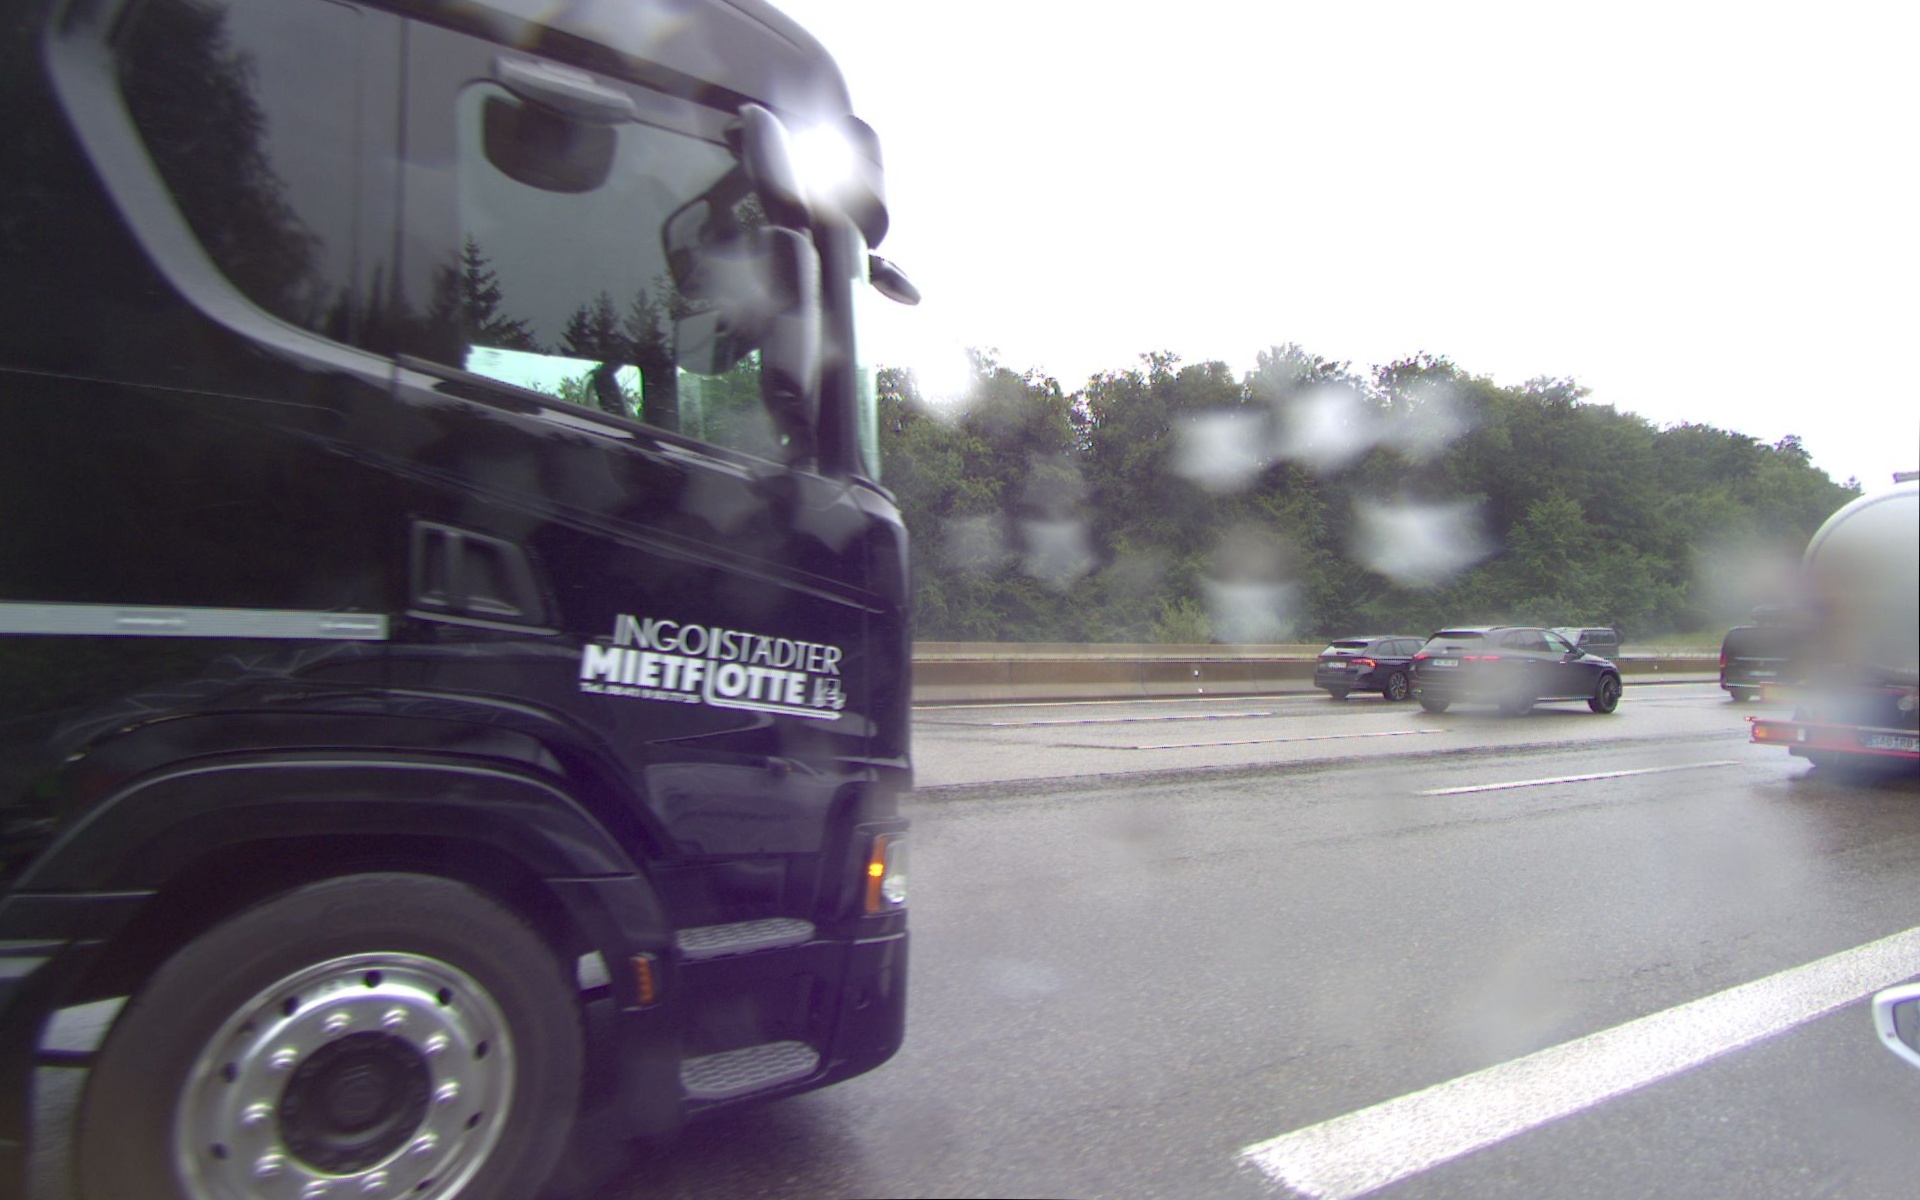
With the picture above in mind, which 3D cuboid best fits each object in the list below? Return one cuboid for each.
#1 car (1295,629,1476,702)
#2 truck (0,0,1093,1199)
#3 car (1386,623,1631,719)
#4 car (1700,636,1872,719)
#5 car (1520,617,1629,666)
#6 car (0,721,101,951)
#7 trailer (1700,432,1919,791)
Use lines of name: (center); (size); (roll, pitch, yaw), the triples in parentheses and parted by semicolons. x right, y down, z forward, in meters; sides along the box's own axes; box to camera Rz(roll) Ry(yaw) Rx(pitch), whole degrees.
car: (9.872, 1.476, 23.270); (3.953, 1.528, 1.874); (2, -1, -30)
truck: (-5.421, -0.501, 1.150); (11.652, 3.636, 2.819); (2, -2, -29)
car: (10.539, 1.297, 19.204); (4.752, 1.615, 1.984); (2, -1, -31)
car: (20.080, 1.820, 24.397); (4.106, 1.822, 1.984); (2, -1, -31)
car: (28.793, 1.941, 46.995); (5.187, 1.903, 2.041); (4, 1, -30)
car: (-10.560, 2.176, 9.021); (3.950, 1.841, 1.882); (2, 0, -28)
trailer: (13.036, 0.233, 12.146); (9.959, 3.332, 2.860); (2, -1, -30)
